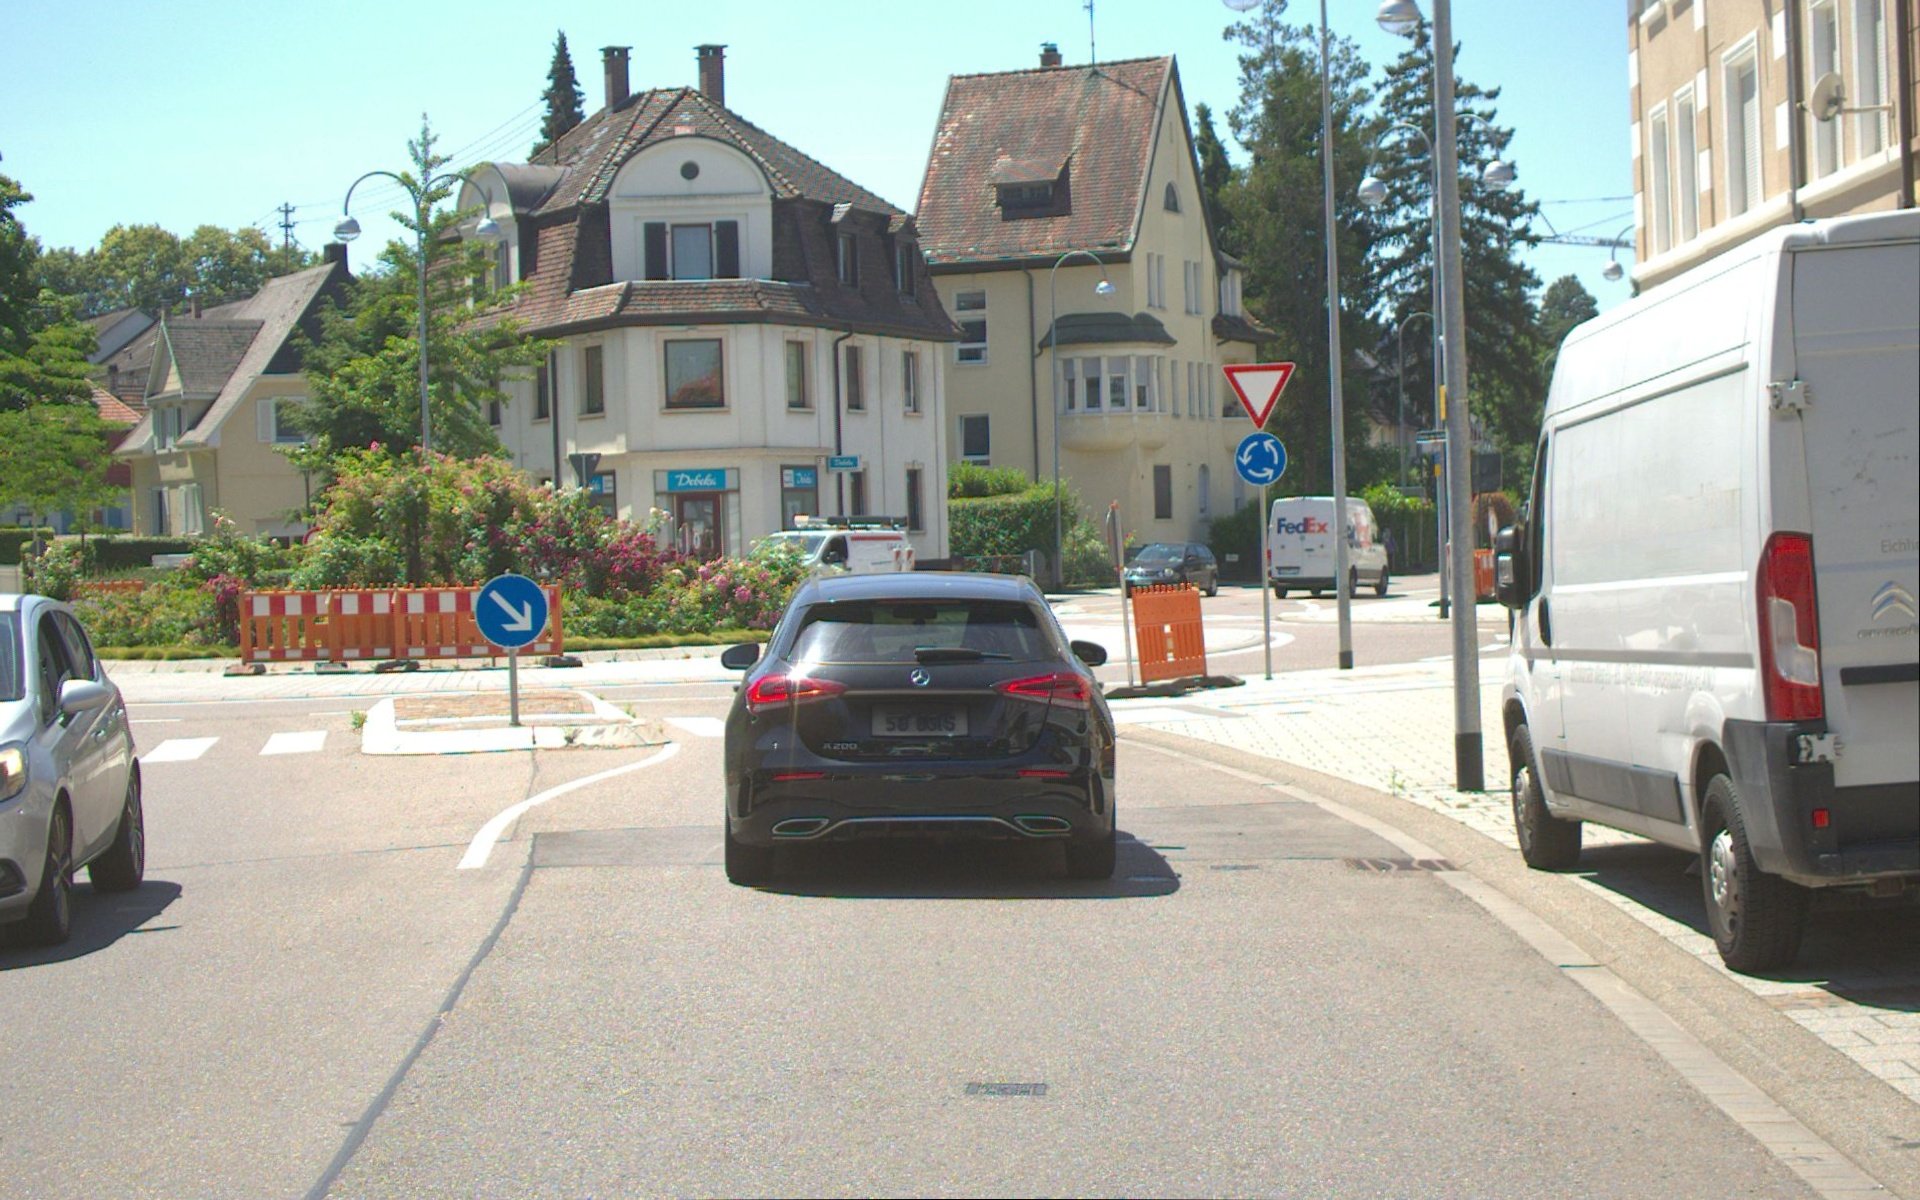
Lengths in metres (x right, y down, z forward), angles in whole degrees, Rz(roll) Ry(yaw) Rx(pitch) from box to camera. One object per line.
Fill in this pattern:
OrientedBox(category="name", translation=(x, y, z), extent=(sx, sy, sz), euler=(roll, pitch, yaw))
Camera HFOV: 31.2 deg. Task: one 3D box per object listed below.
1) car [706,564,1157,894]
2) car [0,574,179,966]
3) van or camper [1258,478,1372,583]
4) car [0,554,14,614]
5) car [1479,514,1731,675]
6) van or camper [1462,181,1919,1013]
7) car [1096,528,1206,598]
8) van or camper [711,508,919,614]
OrientedBox(category="car", translation=(-0.180, 0.557, 16.946), extent=(1.953, 1.422, 4.000), euler=(0, 0, -2))
OrientedBox(category="car", translation=(-4.574, 0.662, 14.967), extent=(1.659, 1.491, 3.760), euler=(-2, 1, -4))
OrientedBox(category="van or camper", translation=(9.152, -1.784, 88.373), extent=(2.207, 2.602, 3.997), euler=(-1, 1, 16))
OrientedBox(category="car", translation=(-26.713, -0.453, 91.015), extent=(1.785, 1.592, 3.919), euler=(-1, -2, 8))
OrientedBox(category="car", translation=(6.744, -0.091, 36.405), extent=(1.764, 1.525, 4.690), euler=(-2, 1, 1))
OrientedBox(category="van or camper", translation=(3.576, -0.081, 13.633), extent=(2.165, 2.580, 5.766), euler=(-3, 1, -1))
OrientedBox(category="car", translation=(5.046, -0.983, 90.357), extent=(1.922, 1.766, 3.997), euler=(1, 1, 18))
OrientedBox(category="van or camper", translation=(-3.035, -0.820, 73.202), extent=(1.996, 2.164, 5.405), euler=(0, 0, 28))
